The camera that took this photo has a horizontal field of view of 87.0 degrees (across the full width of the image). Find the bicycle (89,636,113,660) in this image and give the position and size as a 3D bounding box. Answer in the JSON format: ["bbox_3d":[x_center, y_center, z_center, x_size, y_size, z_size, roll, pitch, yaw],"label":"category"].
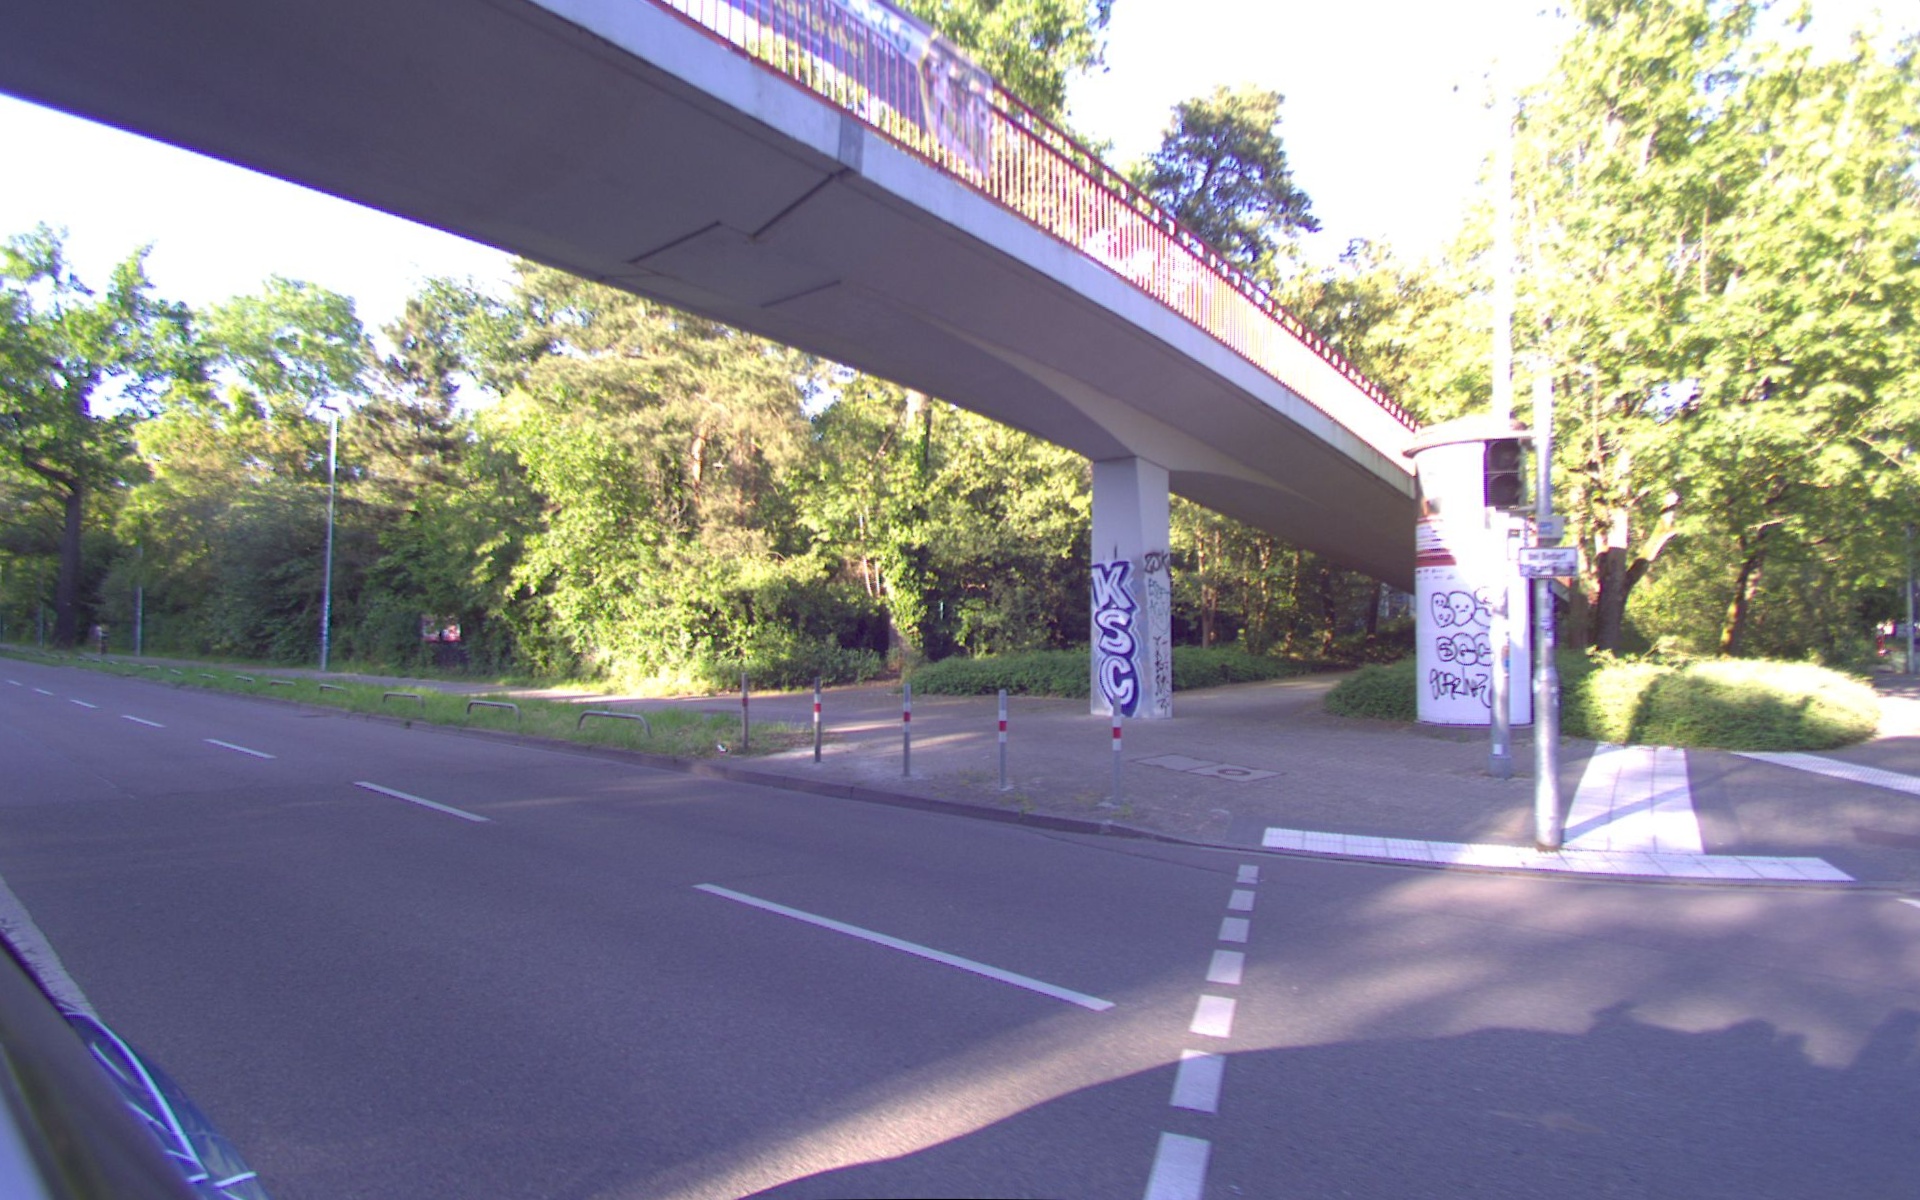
[{"bbox_3d":[-45.028,2.517,53.046,1.992,1.156,0.705,-1,0,41],"label":"bicycle"}]

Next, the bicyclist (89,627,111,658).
[{"bbox_3d":[-45.050,2.194,53.027,1.142,1.570,0.705,-1,0,41],"label":"bicyclist"}]
